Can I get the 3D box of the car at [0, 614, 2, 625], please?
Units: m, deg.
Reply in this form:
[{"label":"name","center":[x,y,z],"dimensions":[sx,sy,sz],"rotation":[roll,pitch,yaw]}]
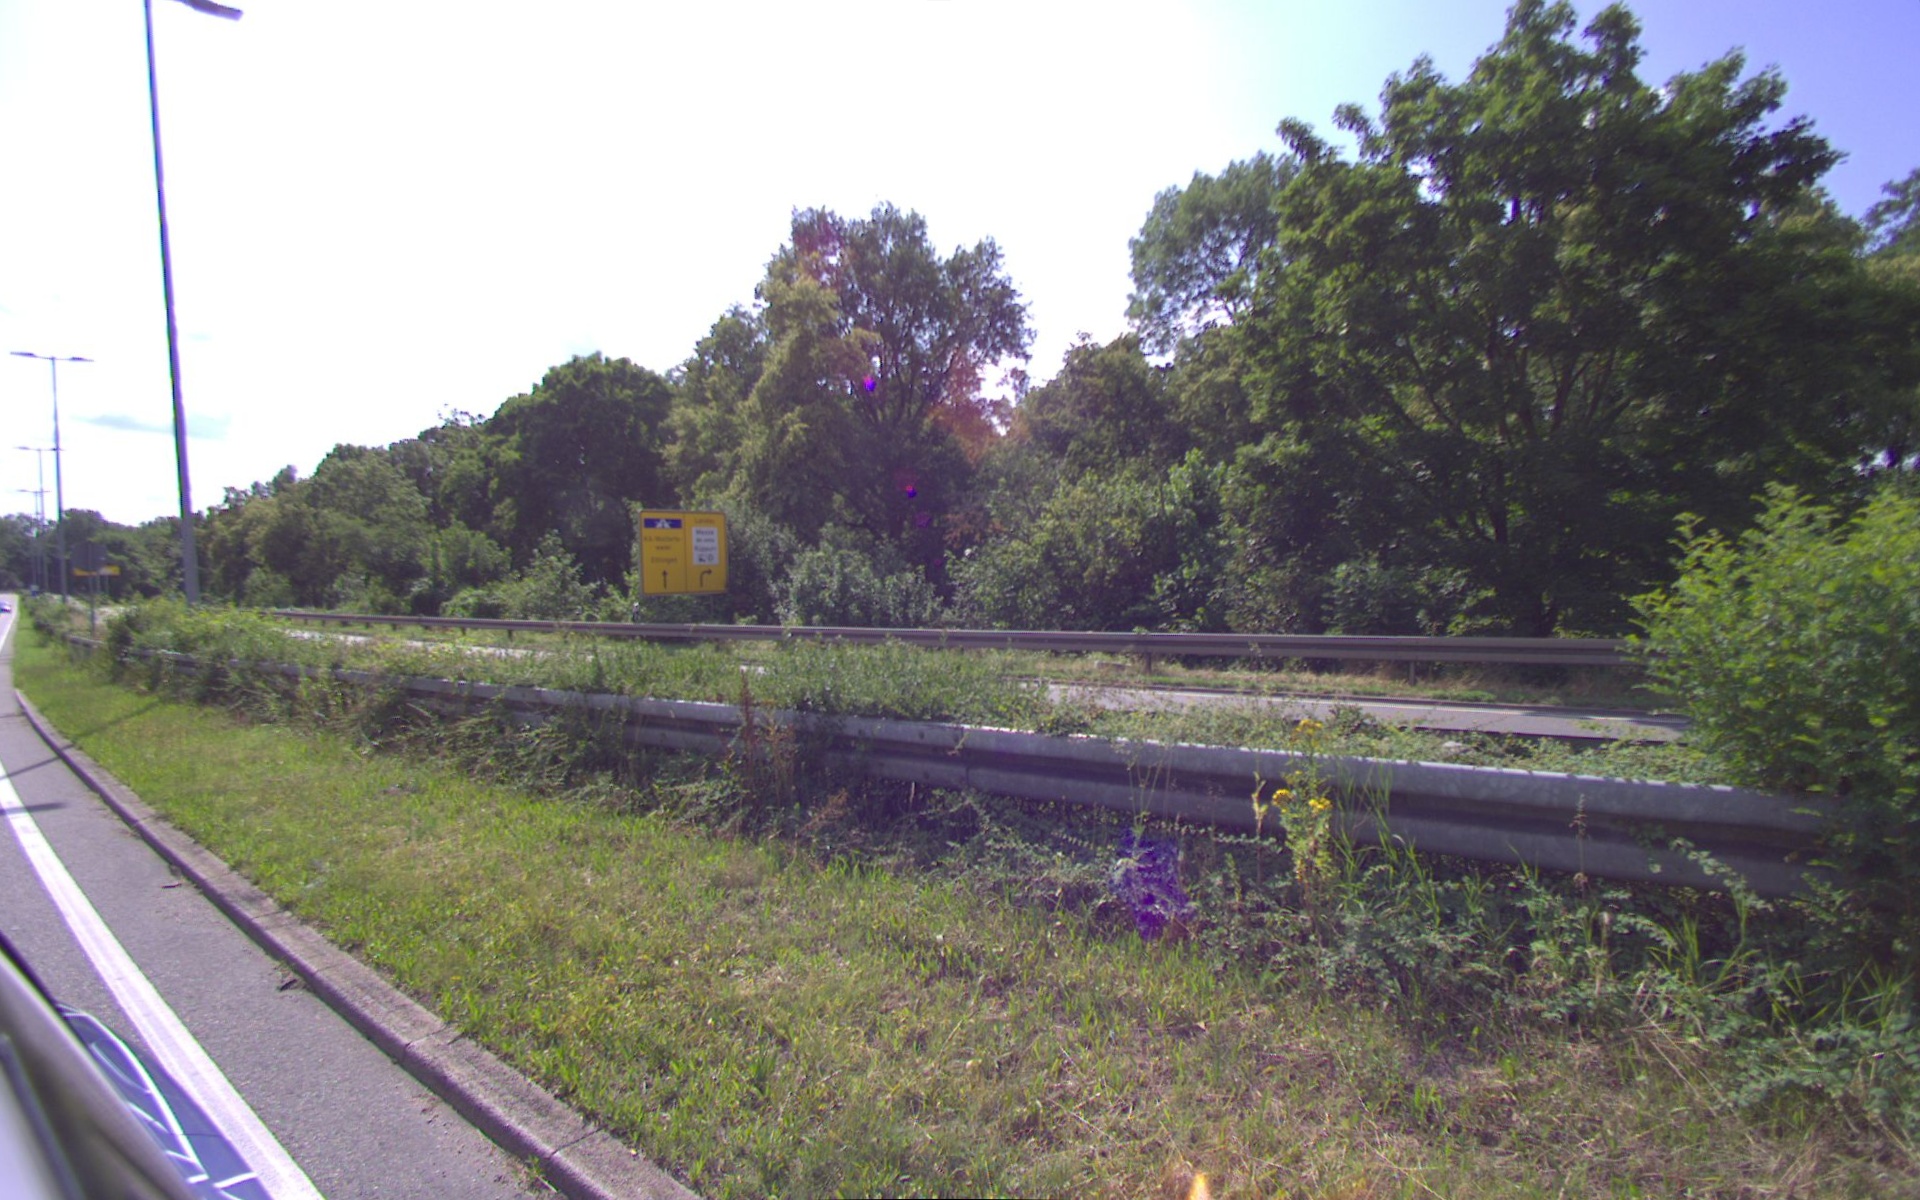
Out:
[{"label":"car","center":[-122.505,2.545,128.052],"dimensions":[1.771,1.386,4.004],"rotation":[-2,0,-42]}]
